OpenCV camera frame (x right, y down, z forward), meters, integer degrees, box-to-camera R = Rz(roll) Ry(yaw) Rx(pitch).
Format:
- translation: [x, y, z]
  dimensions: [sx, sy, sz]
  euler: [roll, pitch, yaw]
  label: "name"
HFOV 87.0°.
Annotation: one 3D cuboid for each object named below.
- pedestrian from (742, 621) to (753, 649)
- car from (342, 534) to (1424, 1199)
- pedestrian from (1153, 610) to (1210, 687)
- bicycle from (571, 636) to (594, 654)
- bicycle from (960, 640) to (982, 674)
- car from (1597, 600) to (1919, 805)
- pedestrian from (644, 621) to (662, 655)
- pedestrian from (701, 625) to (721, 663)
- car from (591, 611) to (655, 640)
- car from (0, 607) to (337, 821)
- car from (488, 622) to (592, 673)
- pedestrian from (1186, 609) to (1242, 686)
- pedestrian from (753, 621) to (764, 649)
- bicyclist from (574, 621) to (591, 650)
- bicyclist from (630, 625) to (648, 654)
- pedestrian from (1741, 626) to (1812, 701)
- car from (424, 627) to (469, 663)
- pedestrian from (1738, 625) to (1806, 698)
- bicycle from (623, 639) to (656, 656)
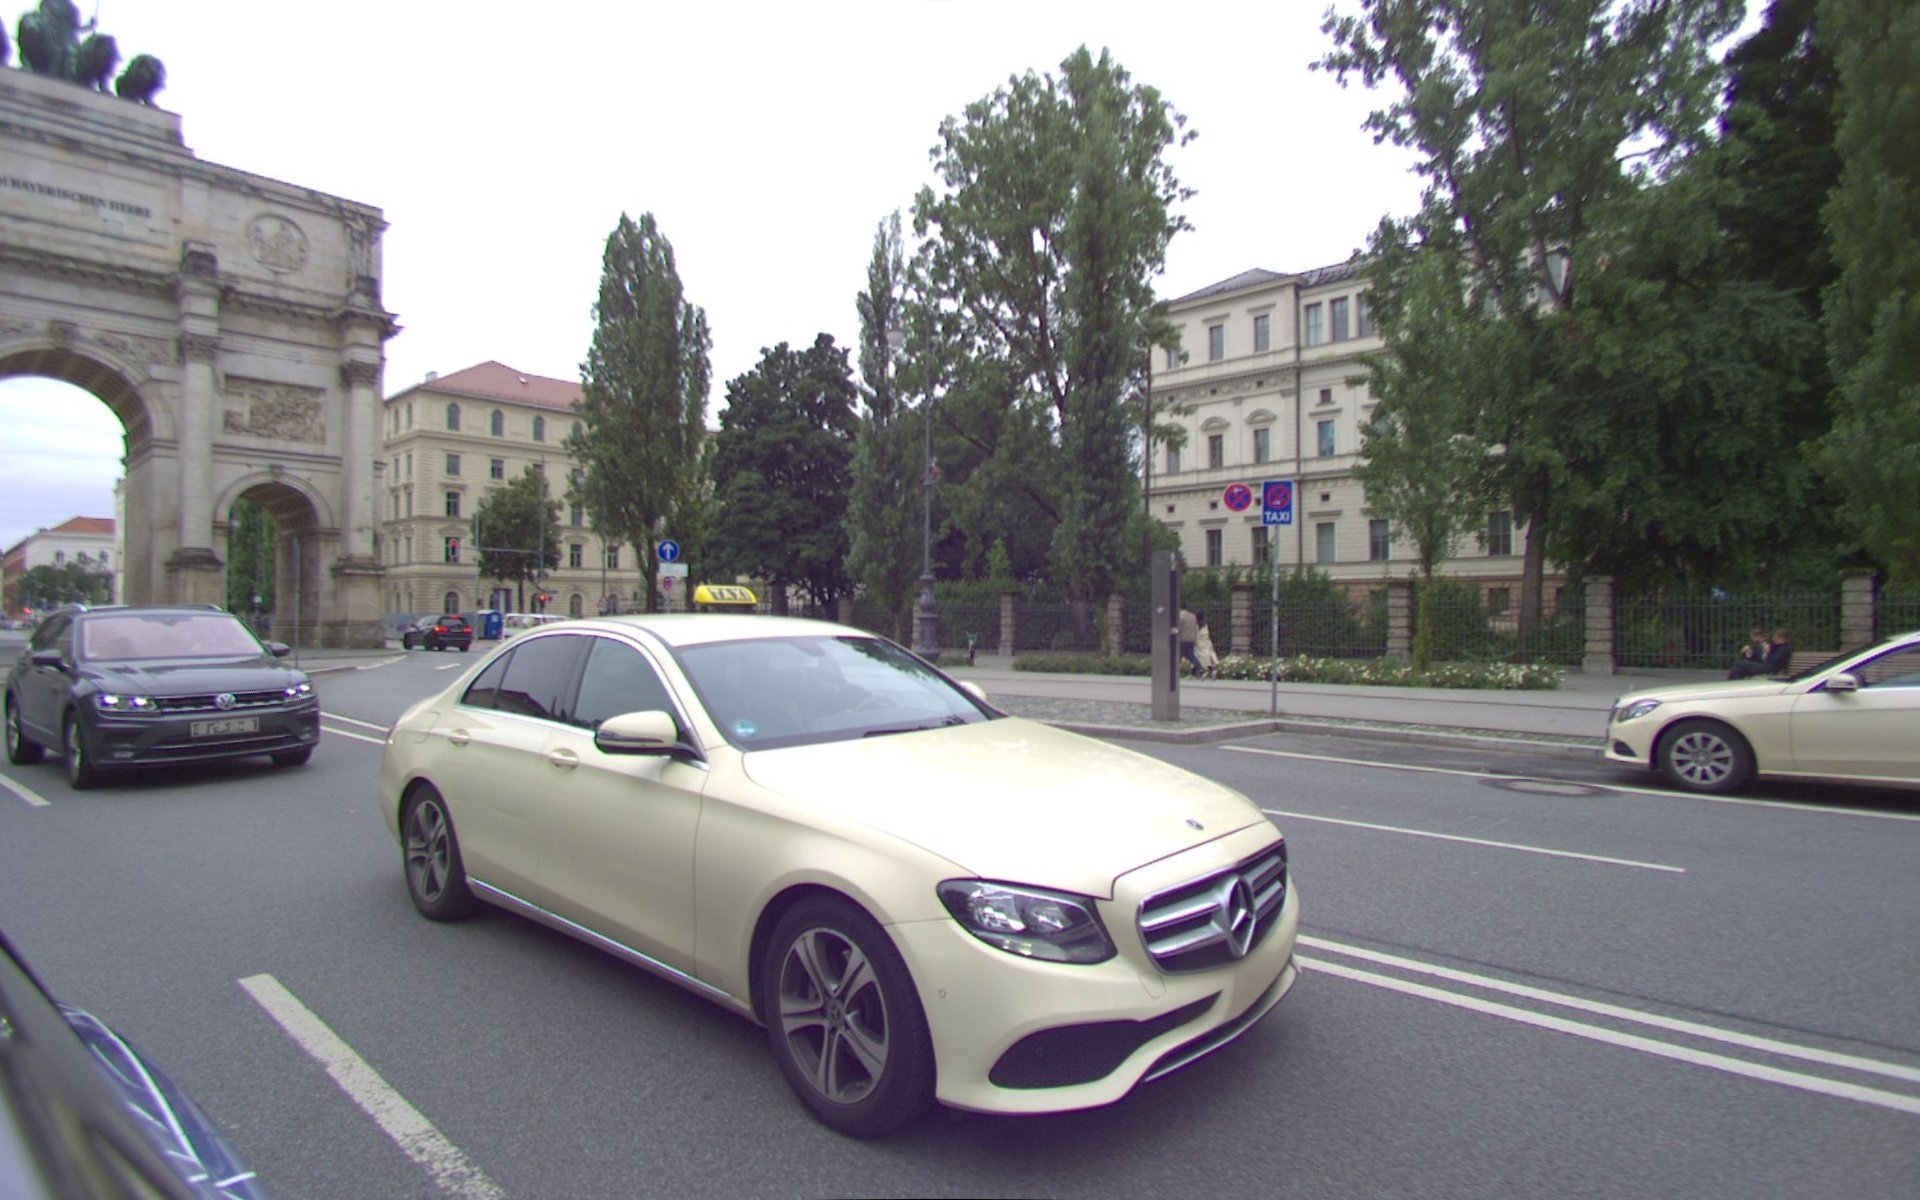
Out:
- translation: [-15.241, 2.515, 72.690]
  dimensions: [0.592, 2.029, 0.528]
  euler: [-1, -1, 33]
  label: "pedestrian"
- translation: [-0.776, 0.648, 4.340]
  dimensions: [4.687, 1.587, 1.895]
  euler: [0, 1, 42]
  label: "car"
- translation: [4.978, 1.069, 22.705]
  dimensions: [0.966, 1.691, 0.835]
  euler: [-1, -2, 41]
  label: "pedestrian"
- translation: [-22.131, 2.628, 59.281]
  dimensions: [0.634, 0.981, 1.764]
  euler: [1, -2, -42]
  label: "bicycle"
- translation: [0.383, 1.937, 34.637]
  dimensions: [0.628, 1.072, 1.736]
  euler: [0, -1, 5]
  label: "bicycle"
- translation: [8.184, 0.819, 8.221]
  dimensions: [4.859, 1.571, 1.798]
  euler: [0, -3, 43]
  label: "car"
- translation: [-18.344, 2.286, 60.526]
  dimensions: [0.747, 2.029, 0.792]
  euler: [0, -1, 8]
  label: "pedestrian"
- translation: [-12.057, 2.113, 49.050]
  dimensions: [0.743, 1.799, 0.916]
  euler: [0, -1, -2]
  label: "pedestrian"
- translation: [-24.207, 1.813, 72.809]
  dimensions: [2.000, 2.029, 3.943]
  euler: [-1, -1, 43]
  label: "car"
- translation: [-8.164, 0.925, 10.175]
  dimensions: [4.408, 1.636, 1.929]
  euler: [0, 1, 40]
  label: "car"
- translation: [-16.745, 1.836, 40.676]
  dimensions: [1.978, 1.869, 4.988]
  euler: [1, -1, 1]
  label: "car"
- translation: [5.792, 1.062, 23.060]
  dimensions: [0.966, 1.691, 0.835]
  euler: [-1, -2, 41]
  label: "pedestrian"
- translation: [-14.553, 2.509, 72.966]
  dimensions: [0.592, 2.029, 0.528]
  euler: [-1, -1, 33]
  label: "pedestrian"
- translation: [-22.113, 2.078, 59.263]
  dimensions: [0.634, 1.722, 0.861]
  euler: [1, -2, -42]
  label: "bicyclist"
- translation: [-18.929, 2.320, 59.695]
  dimensions: [0.848, 1.722, 0.643]
  euler: [0, -1, 1]
  label: "bicyclist"
- translation: [15.034, 1.155, 18.647]
  dimensions: [0.833, 1.347, 0.574]
  euler: [-1, -1, 17]
  label: "pedestrian"
- translation: [-26.269, 2.255, 51.725]
  dimensions: [1.756, 1.684, 4.012]
  euler: [1, -1, -31]
  label: "car"
- translation: [15.436, 1.155, 19.259]
  dimensions: [0.833, 1.347, 0.574]
  euler: [-1, -1, 17]
  label: "pedestrian"
- translation: [-18.898, 2.805, 59.680]
  dimensions: [1.737, 0.981, 0.643]
  euler: [0, -1, 0]
  label: "bicycle"
